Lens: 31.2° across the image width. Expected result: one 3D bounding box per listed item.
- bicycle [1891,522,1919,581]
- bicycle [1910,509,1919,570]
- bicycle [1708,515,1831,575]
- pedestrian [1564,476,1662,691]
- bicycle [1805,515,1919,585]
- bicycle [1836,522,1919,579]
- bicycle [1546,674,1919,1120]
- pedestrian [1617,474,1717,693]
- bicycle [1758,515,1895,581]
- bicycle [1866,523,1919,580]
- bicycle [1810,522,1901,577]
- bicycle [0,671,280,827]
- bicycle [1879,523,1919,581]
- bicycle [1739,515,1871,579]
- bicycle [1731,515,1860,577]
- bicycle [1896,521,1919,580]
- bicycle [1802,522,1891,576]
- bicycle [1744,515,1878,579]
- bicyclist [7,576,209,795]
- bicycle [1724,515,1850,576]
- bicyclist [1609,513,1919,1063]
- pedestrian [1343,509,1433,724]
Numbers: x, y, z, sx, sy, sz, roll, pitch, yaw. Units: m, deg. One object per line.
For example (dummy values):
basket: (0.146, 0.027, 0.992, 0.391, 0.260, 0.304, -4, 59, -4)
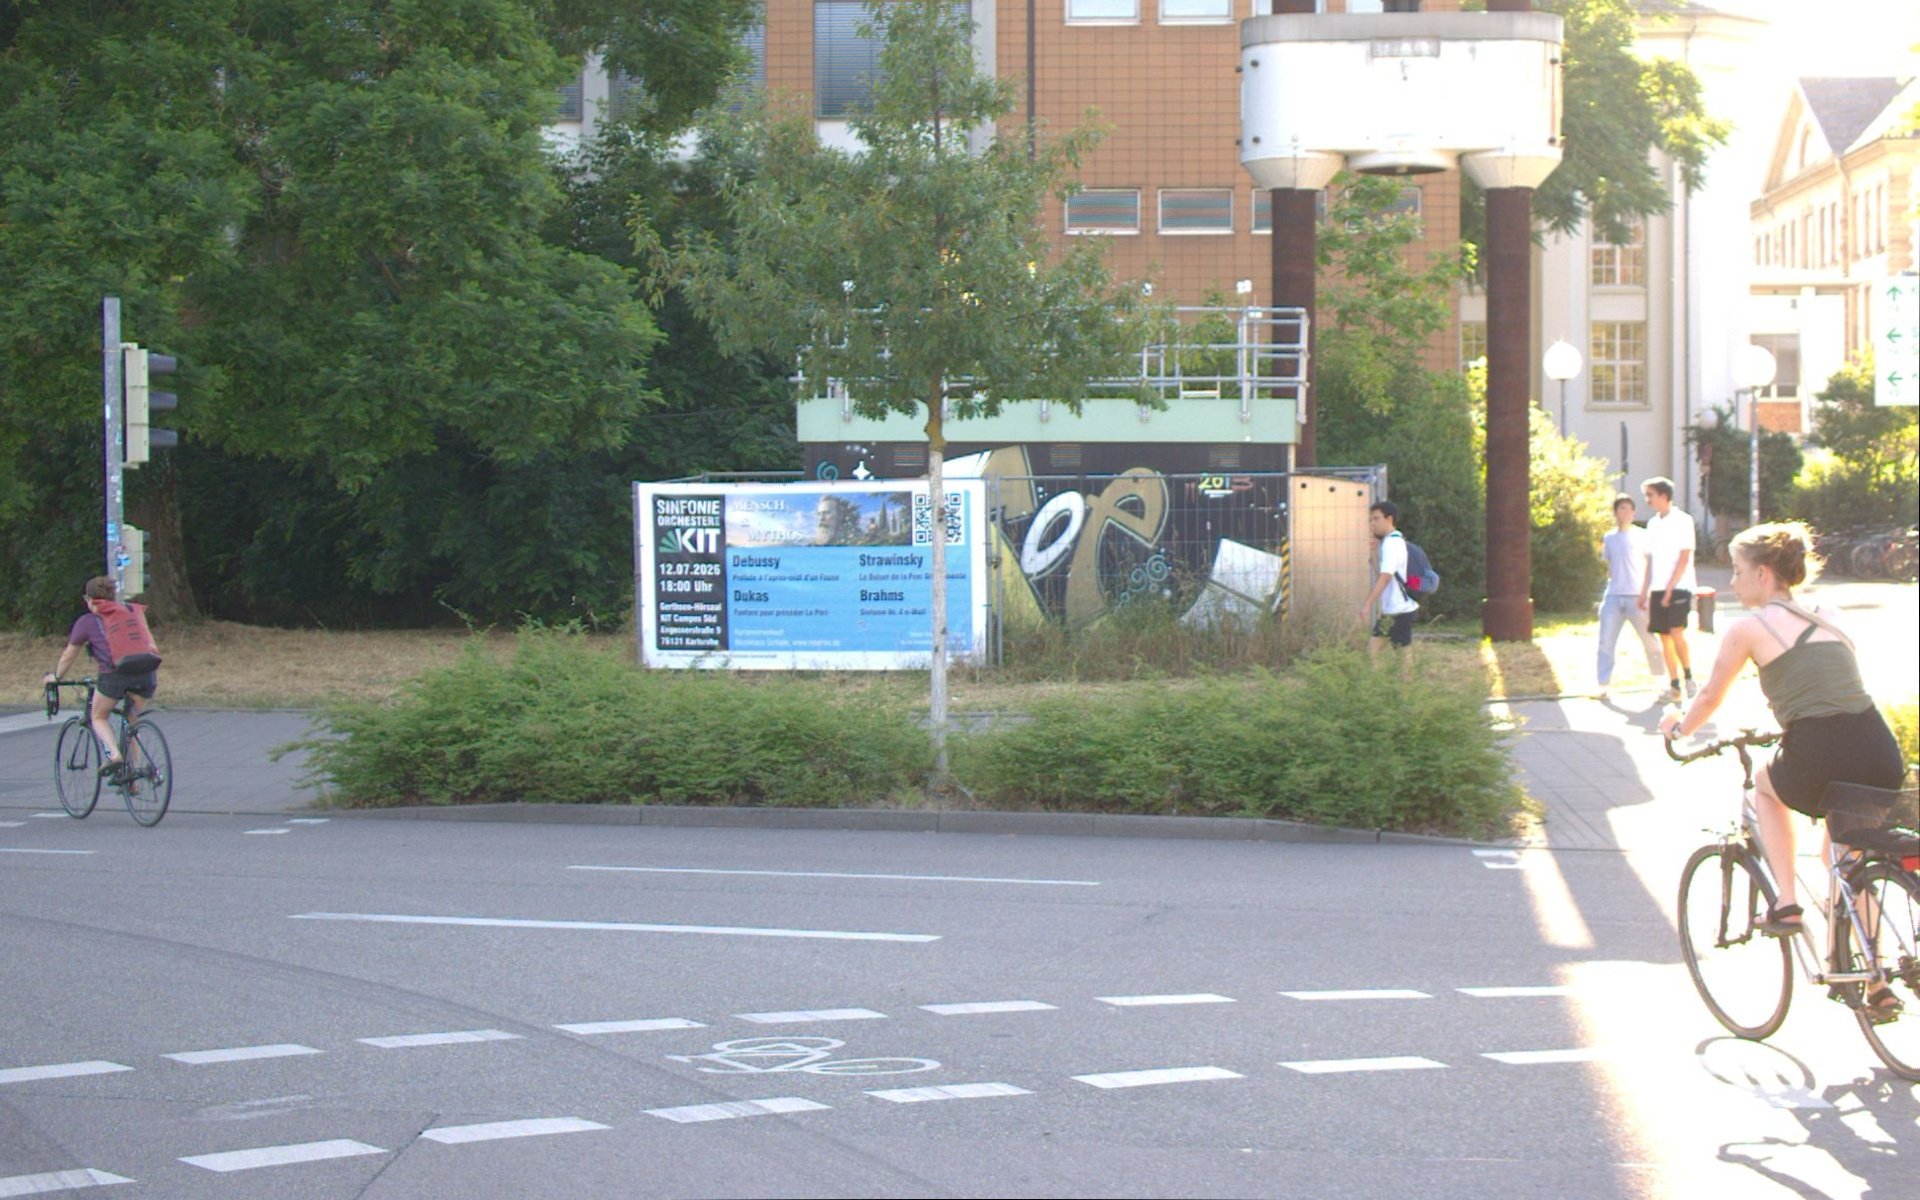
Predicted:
bicycle: (18.707, -0.903, 65.437, 1.795, 1.104, 0.500, 2, 1, 7)
bicycle: (18.378, -1.078, 62.960, 1.795, 1.104, 0.500, 2, 1, 7)
bicycle: (20.099, -1.371, 85.411, 2.872, 1.376, 0.682, 2, 1, 7)
pedestrian: (5.743, -0.156, 30.234, 0.575, 1.863, 0.622, -1, 2, -32)
bicycle: (19.137, -1.032, 71.595, 2.872, 1.376, 0.682, 2, 1, 7)
bicycle: (19.020, -1.016, 70.834, 1.795, 1.104, 0.500, 2, 1, 7)
bicycle: (2.694, 0.877, 11.049, 0.778, 1.152, 2.292, 0, 2, -13)
pedestrian: (6.101, -0.156, 29.663, 0.575, 1.863, 0.622, -1, 2, -32)
bicycle: (19.439, -1.171, 77.159, 2.872, 1.376, 0.682, 2, 1, 7)
bicycle: (18.992, -0.951, 68.385, 1.795, 1.104, 0.500, 2, 1, 7)
bicycle: (19.121, -1.083, 73.454, 1.795, 1.104, 0.500, 2, 1, 7)
bicycle: (-5.466, 0.940, 22.177, 2.246, 0.949, 0.721, -1, 0, 33)
bicycle: (18.869, -0.916, 66.929, 1.795, 1.104, 0.500, 2, 1, 7)
bicycle: (19.666, -1.242, 80.059, 2.872, 1.376, 0.682, 2, 1, 7)
bicycle: (19.861, -1.281, 81.759, 2.872, 1.376, 0.682, 2, 1, 7)
bicycle: (18.572, -0.911, 64.640, 1.795, 1.104, 0.500, 2, 1, 7)
bicycle: (19.435, -1.123, 75.363, 1.795, 1.104, 0.500, 2, 1, 7)
bicycle: (19.591, -1.221, 79.193, 2.872, 1.376, 0.682, 2, 1, 7)
bicyclist: (-5.501, 0.541, 22.200, 1.074, 1.380, 0.721, -1, 0, 33)
bicycle: (20.041, -1.317, 83.346, 2.872, 1.376, 0.682, 2, 1, 7)
bicyclist: (2.685, 0.558, 11.091, 0.778, 1.671, 1.093, 0, 2, -13)
pedestrian: (3.419, 0.121, 27.426, 0.629, 1.693, 0.622, 0, 2, 16)
